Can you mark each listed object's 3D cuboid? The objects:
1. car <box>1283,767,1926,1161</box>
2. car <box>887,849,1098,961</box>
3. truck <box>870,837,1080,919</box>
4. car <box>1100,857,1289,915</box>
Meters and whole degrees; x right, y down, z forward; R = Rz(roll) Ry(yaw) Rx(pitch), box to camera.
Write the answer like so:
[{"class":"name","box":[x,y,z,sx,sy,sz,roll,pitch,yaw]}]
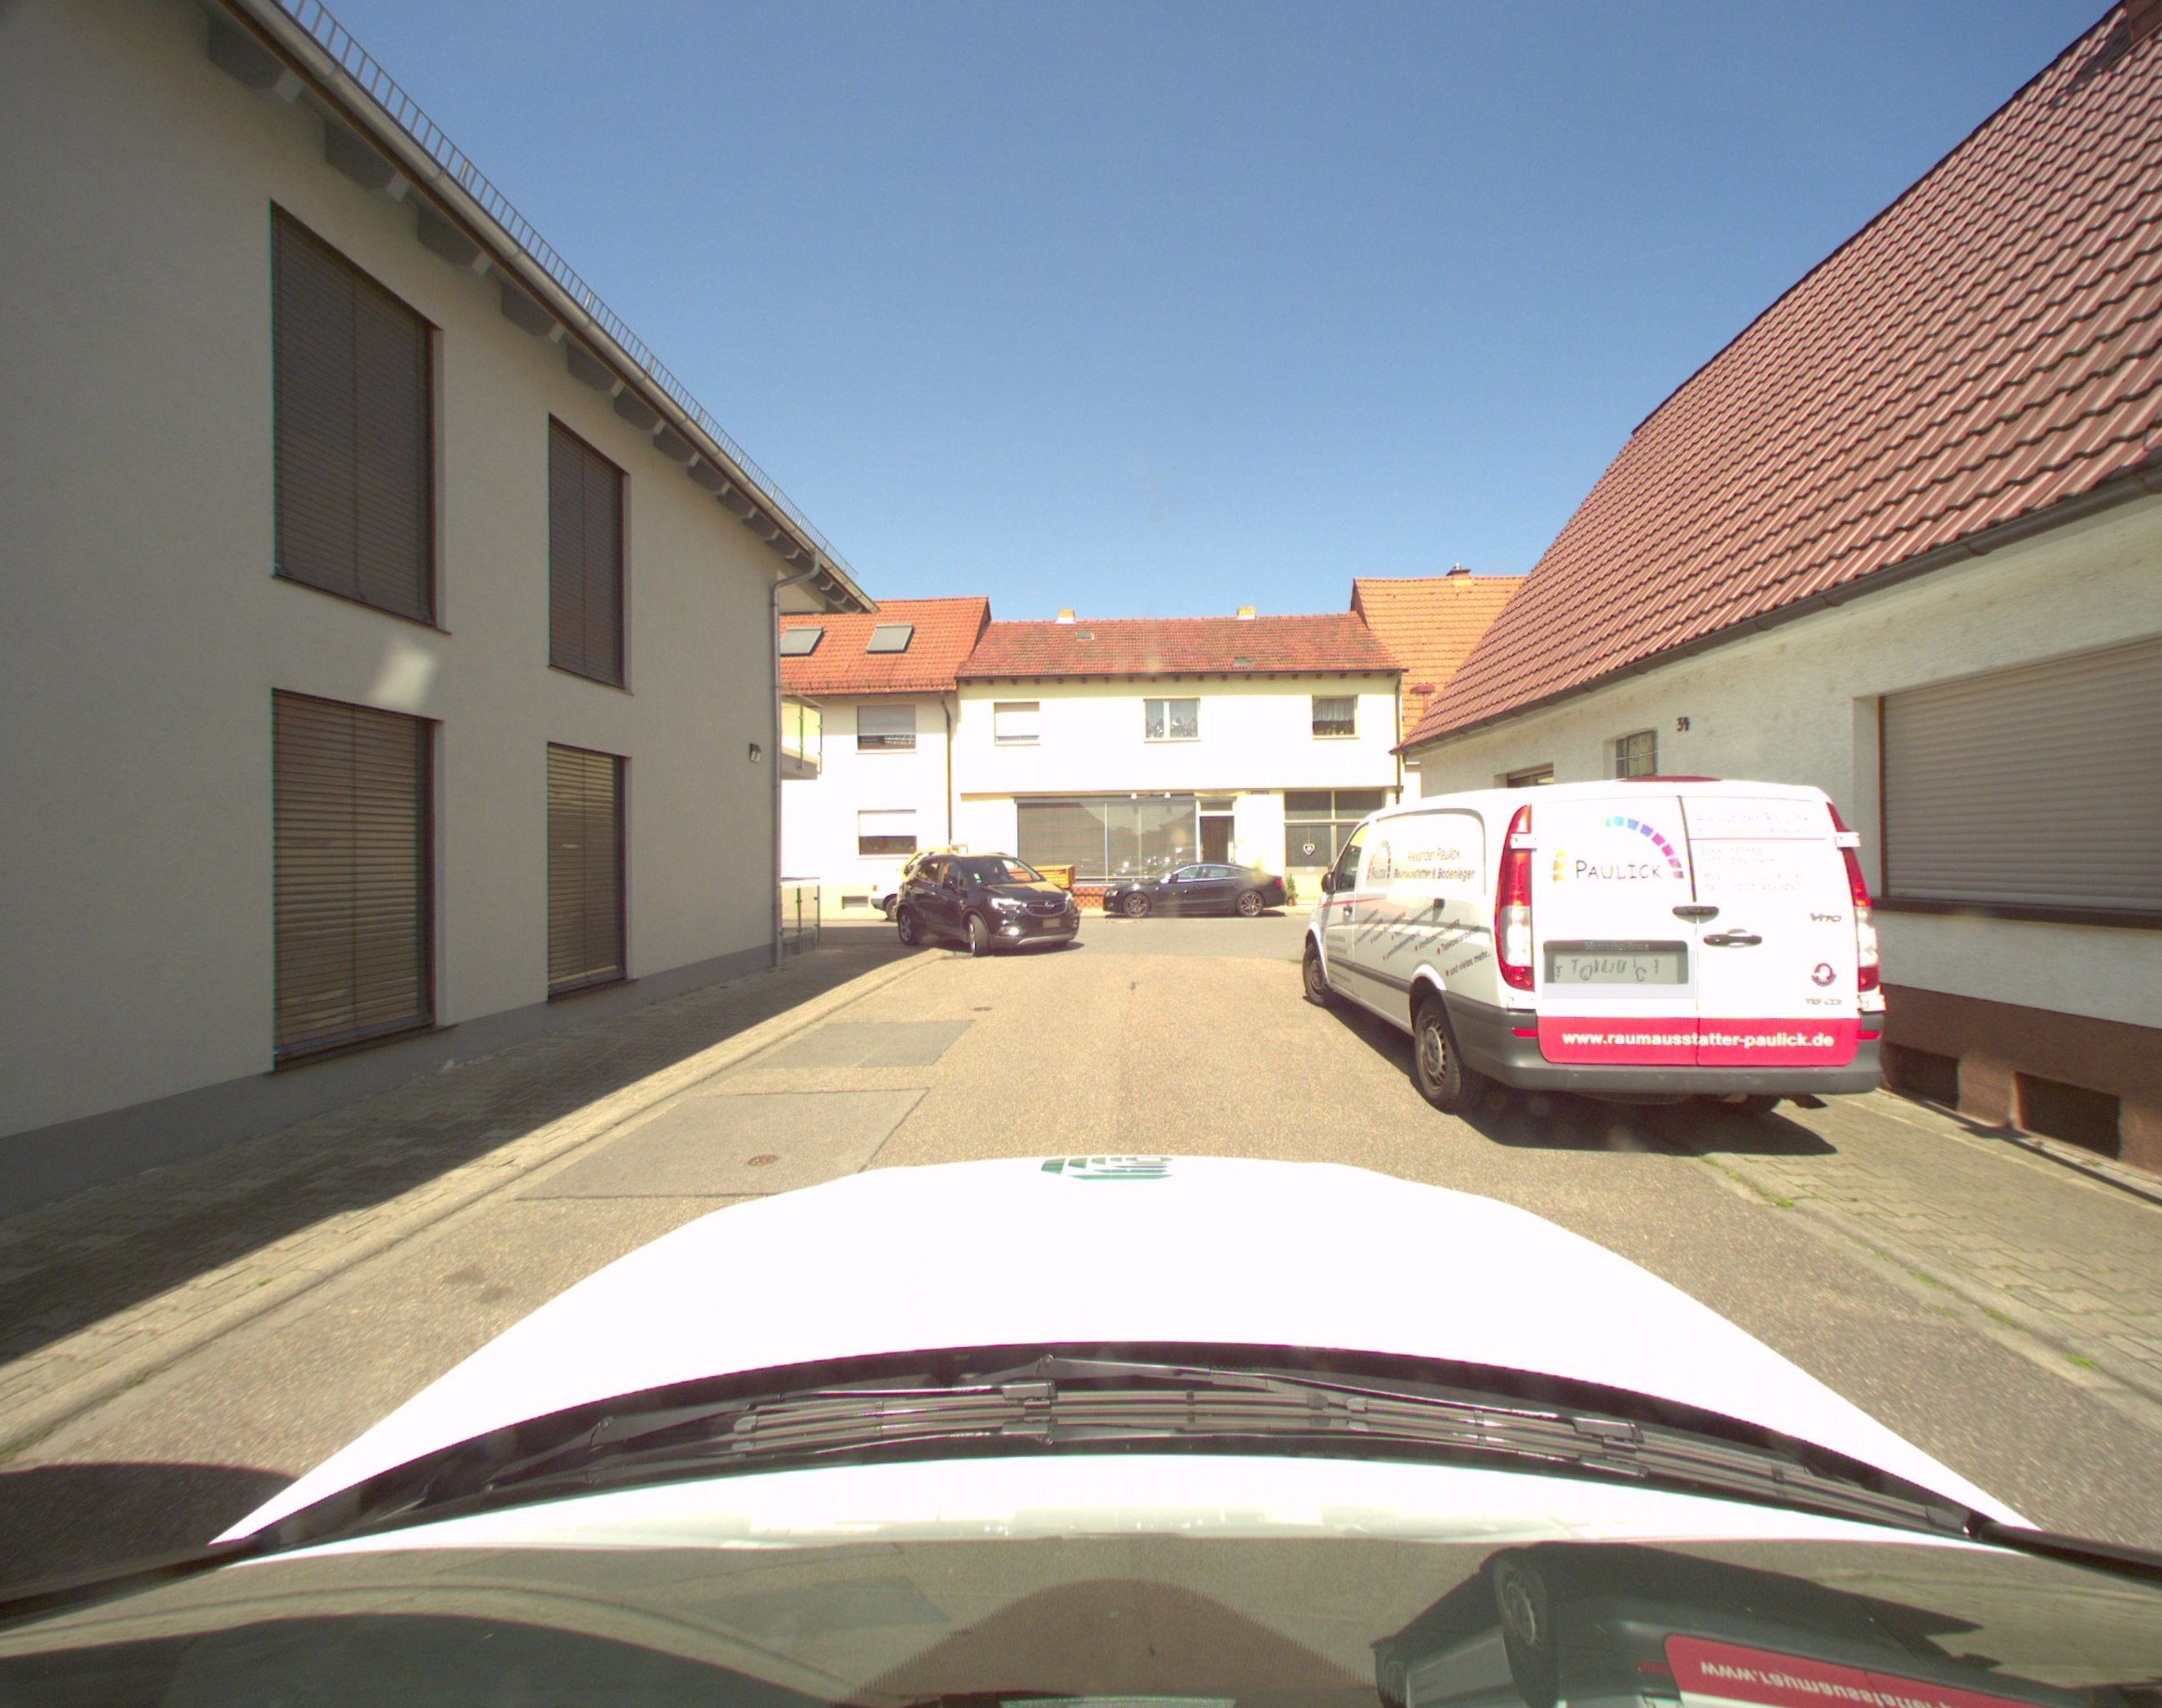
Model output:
[{"class":"car","box":[3.110,0.514,6.482,2.004,1.839,5.270,0,0,4]},{"class":"car","box":[-1.695,0.780,14.160,1.770,1.583,4.234,-2,0,-36]},{"class":"truck","box":[-2.621,0.606,21.097,5.041,2.014,2.191,0,-1,3]},{"class":"car","box":[2.804,0.827,20.875,4.599,1.394,1.928,0,-3,2]}]
